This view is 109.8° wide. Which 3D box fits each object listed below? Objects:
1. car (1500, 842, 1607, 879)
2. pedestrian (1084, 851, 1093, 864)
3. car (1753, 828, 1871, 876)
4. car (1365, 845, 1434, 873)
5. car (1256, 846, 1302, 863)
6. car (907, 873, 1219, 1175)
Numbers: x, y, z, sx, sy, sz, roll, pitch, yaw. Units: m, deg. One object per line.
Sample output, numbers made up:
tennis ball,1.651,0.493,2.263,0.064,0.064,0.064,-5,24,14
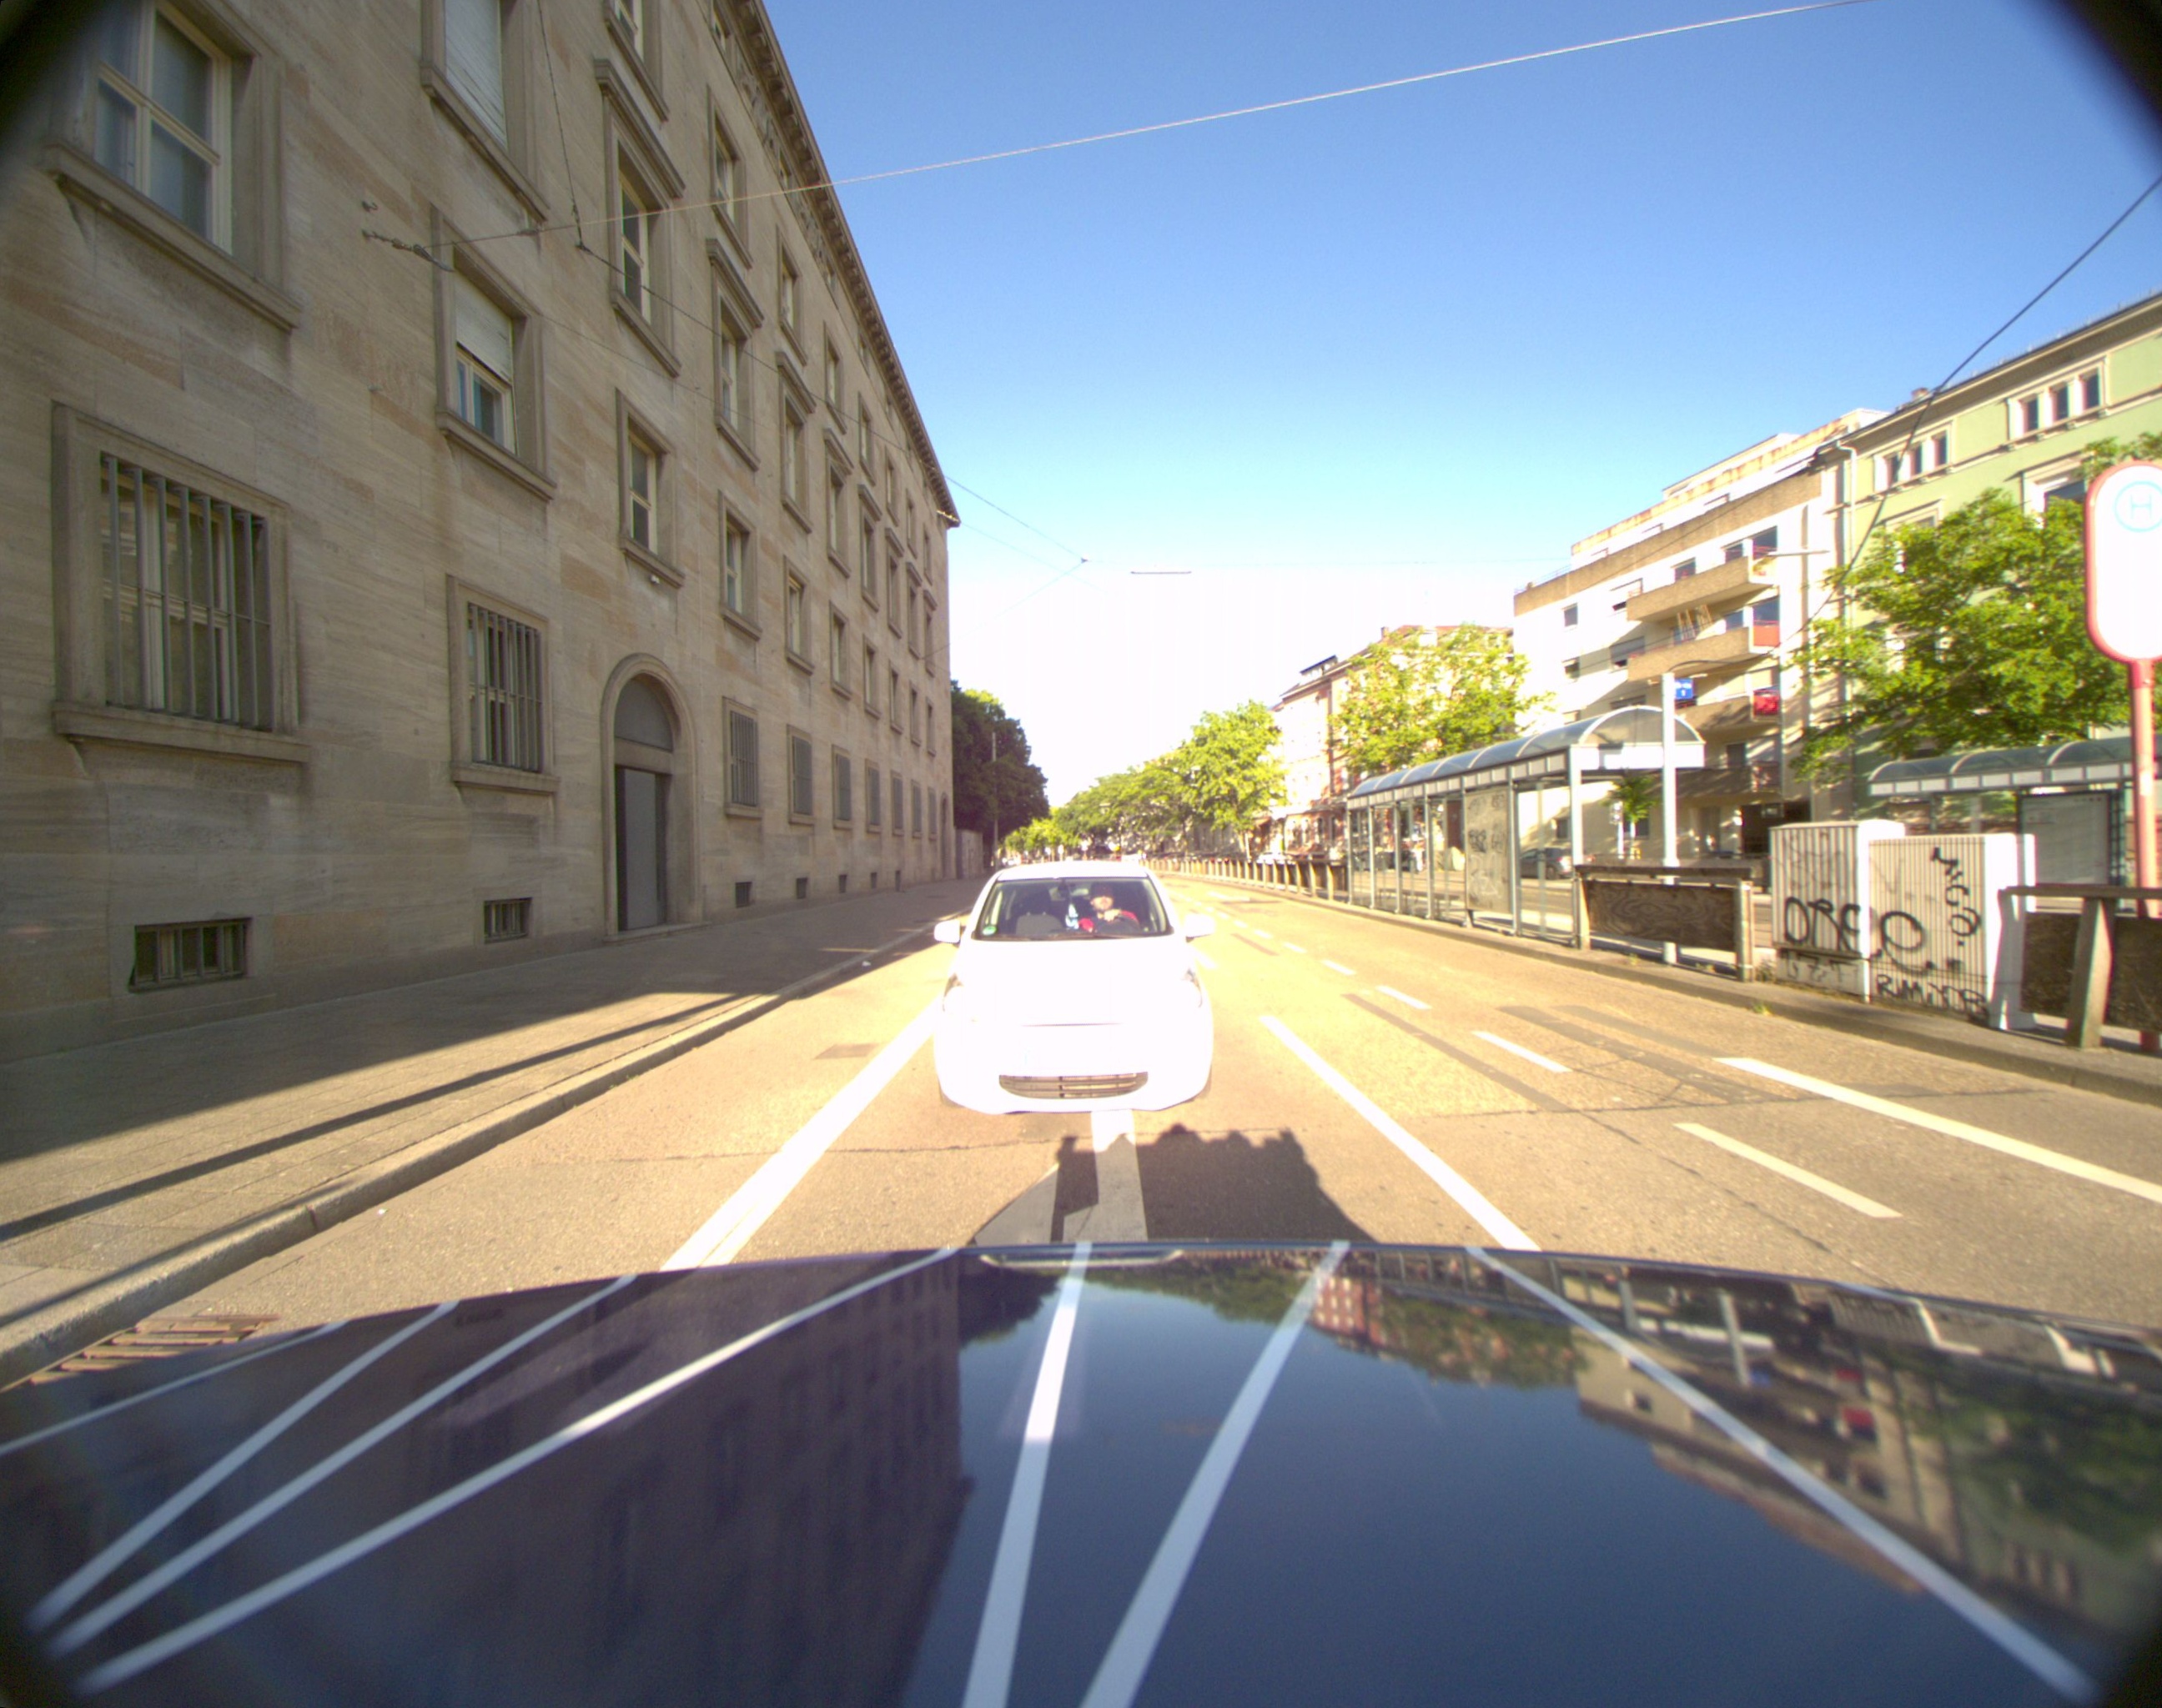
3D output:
car,21.082,0.284,34.111,2.000,1.521,3.997,-1,0,-8
pedestrian,0.955,0.448,98.058,0.685,1.673,0.930,0,1,43
car,31.662,-0.097,32.956,4.001,2.002,1.798,-1,1,-13
car,18.701,0.275,44.849,2.000,1.521,3.997,-1,0,-8
car,16.468,0.012,63.185,3.648,1.342,1.578,-2,1,-29
car,-0.069,0.942,5.809,1.606,1.455,3.621,-1,0,1
